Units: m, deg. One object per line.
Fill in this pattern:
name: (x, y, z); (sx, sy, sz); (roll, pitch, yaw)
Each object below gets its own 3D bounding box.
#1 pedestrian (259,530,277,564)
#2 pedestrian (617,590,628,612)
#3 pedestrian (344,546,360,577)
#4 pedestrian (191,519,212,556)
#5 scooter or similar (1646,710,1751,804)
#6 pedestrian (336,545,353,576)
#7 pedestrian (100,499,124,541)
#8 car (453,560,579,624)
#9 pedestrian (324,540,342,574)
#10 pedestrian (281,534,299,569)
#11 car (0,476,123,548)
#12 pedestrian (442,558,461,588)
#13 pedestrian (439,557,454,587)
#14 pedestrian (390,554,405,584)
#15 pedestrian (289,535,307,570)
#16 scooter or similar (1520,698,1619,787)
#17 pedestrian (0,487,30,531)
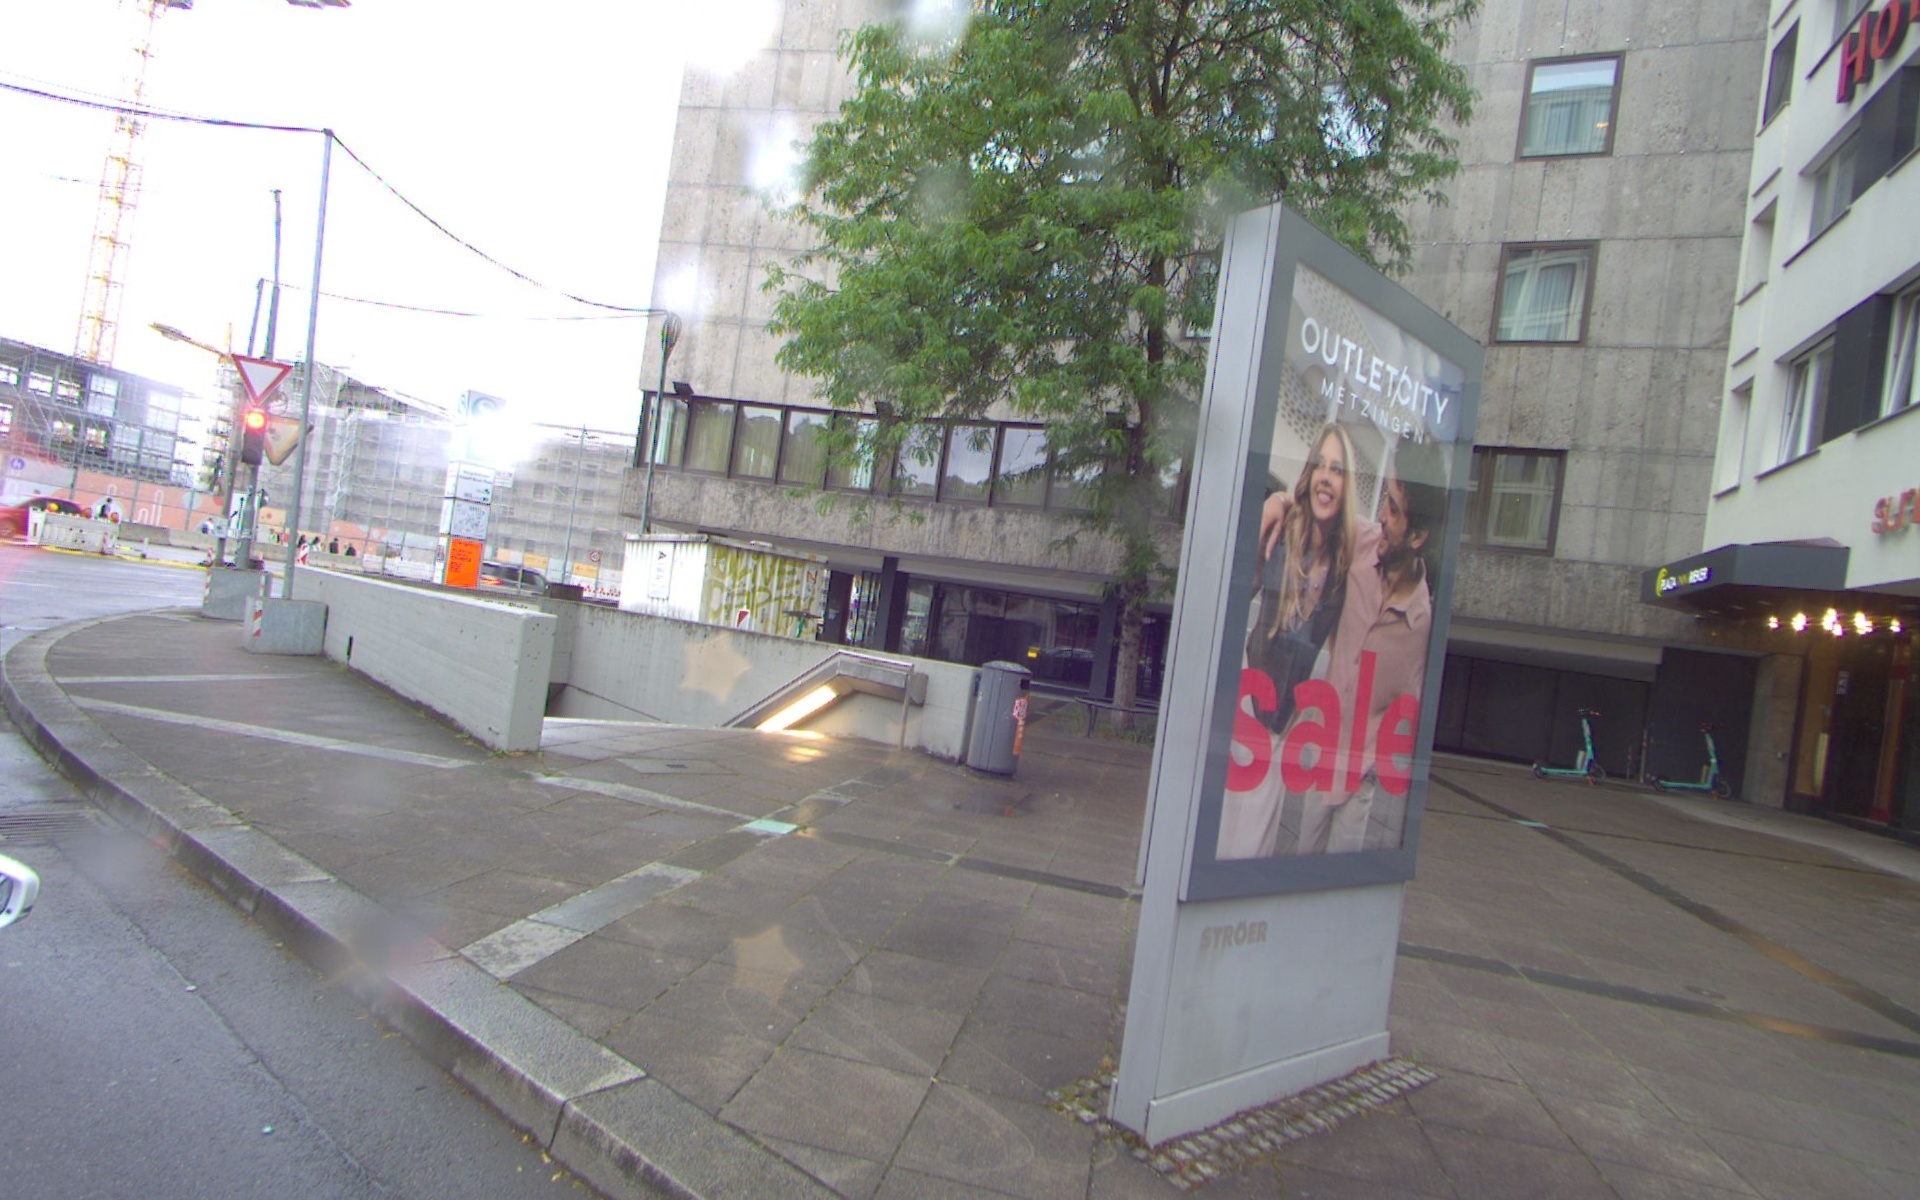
pedestrian: (-40.523, -3.101, 58.917); (0.355, 1.919, 0.577); (7, -2, 16)
pedestrian: (-29.645, 0.094, 88.408); (0.355, 1.919, 0.577); (7, -2, 21)
pedestrian: (-38.779, -2.453, 64.155); (0.355, 1.919, 0.577); (7, -2, 16)
pedestrian: (-40.761, -3.347, 54.039); (0.355, 1.919, 0.577); (7, -2, 21)
scooter or similar: (12.377, 2.613, 16.890); (1.208, 1.352, 0.520); (7, -2, 19)
pedestrian: (-39.197, -2.517, 64.057); (0.355, 1.919, 0.577); (7, -2, 16)
pedestrian: (-41.383, -3.897, 49.095); (0.355, 1.919, 0.577); (7, -2, 21)
car: (-16.994, -0.240, 38.828); (1.962, 1.817, 5.112); (7, -3, 6)
pedestrian: (-36.623, -2.497, 58.770); (0.355, 1.919, 0.577); (7, -2, 21)
pedestrian: (-38.992, -2.836, 58.537); (0.355, 1.919, 0.577); (7, -2, 21)
car: (-30.157, -2.931, 32.681); (1.962, 1.727, 4.008); (7, -3, 14)
pedestrian: (-34.906, -1.853, 69.088); (0.555, 1.919, 0.801); (7, -2, 17)
pedestrian: (-34.409, -1.874, 67.361); (0.355, 1.919, 0.577); (7, -2, 21)
pedestrian: (-37.764, -2.108, 67.524); (0.355, 1.919, 0.577); (7, -2, 16)
pedestrian: (-38.406, -2.766, 58.367); (0.355, 1.919, 0.577); (7, -2, 21)
scooter or similar: (10.245, 2.380, 16.950); (1.208, 1.269, 0.565); (7, 0, 19)
pedestrian: (-44.535, -4.261, 47.346); (0.620, 1.922, 0.659); (7, -2, 18)
